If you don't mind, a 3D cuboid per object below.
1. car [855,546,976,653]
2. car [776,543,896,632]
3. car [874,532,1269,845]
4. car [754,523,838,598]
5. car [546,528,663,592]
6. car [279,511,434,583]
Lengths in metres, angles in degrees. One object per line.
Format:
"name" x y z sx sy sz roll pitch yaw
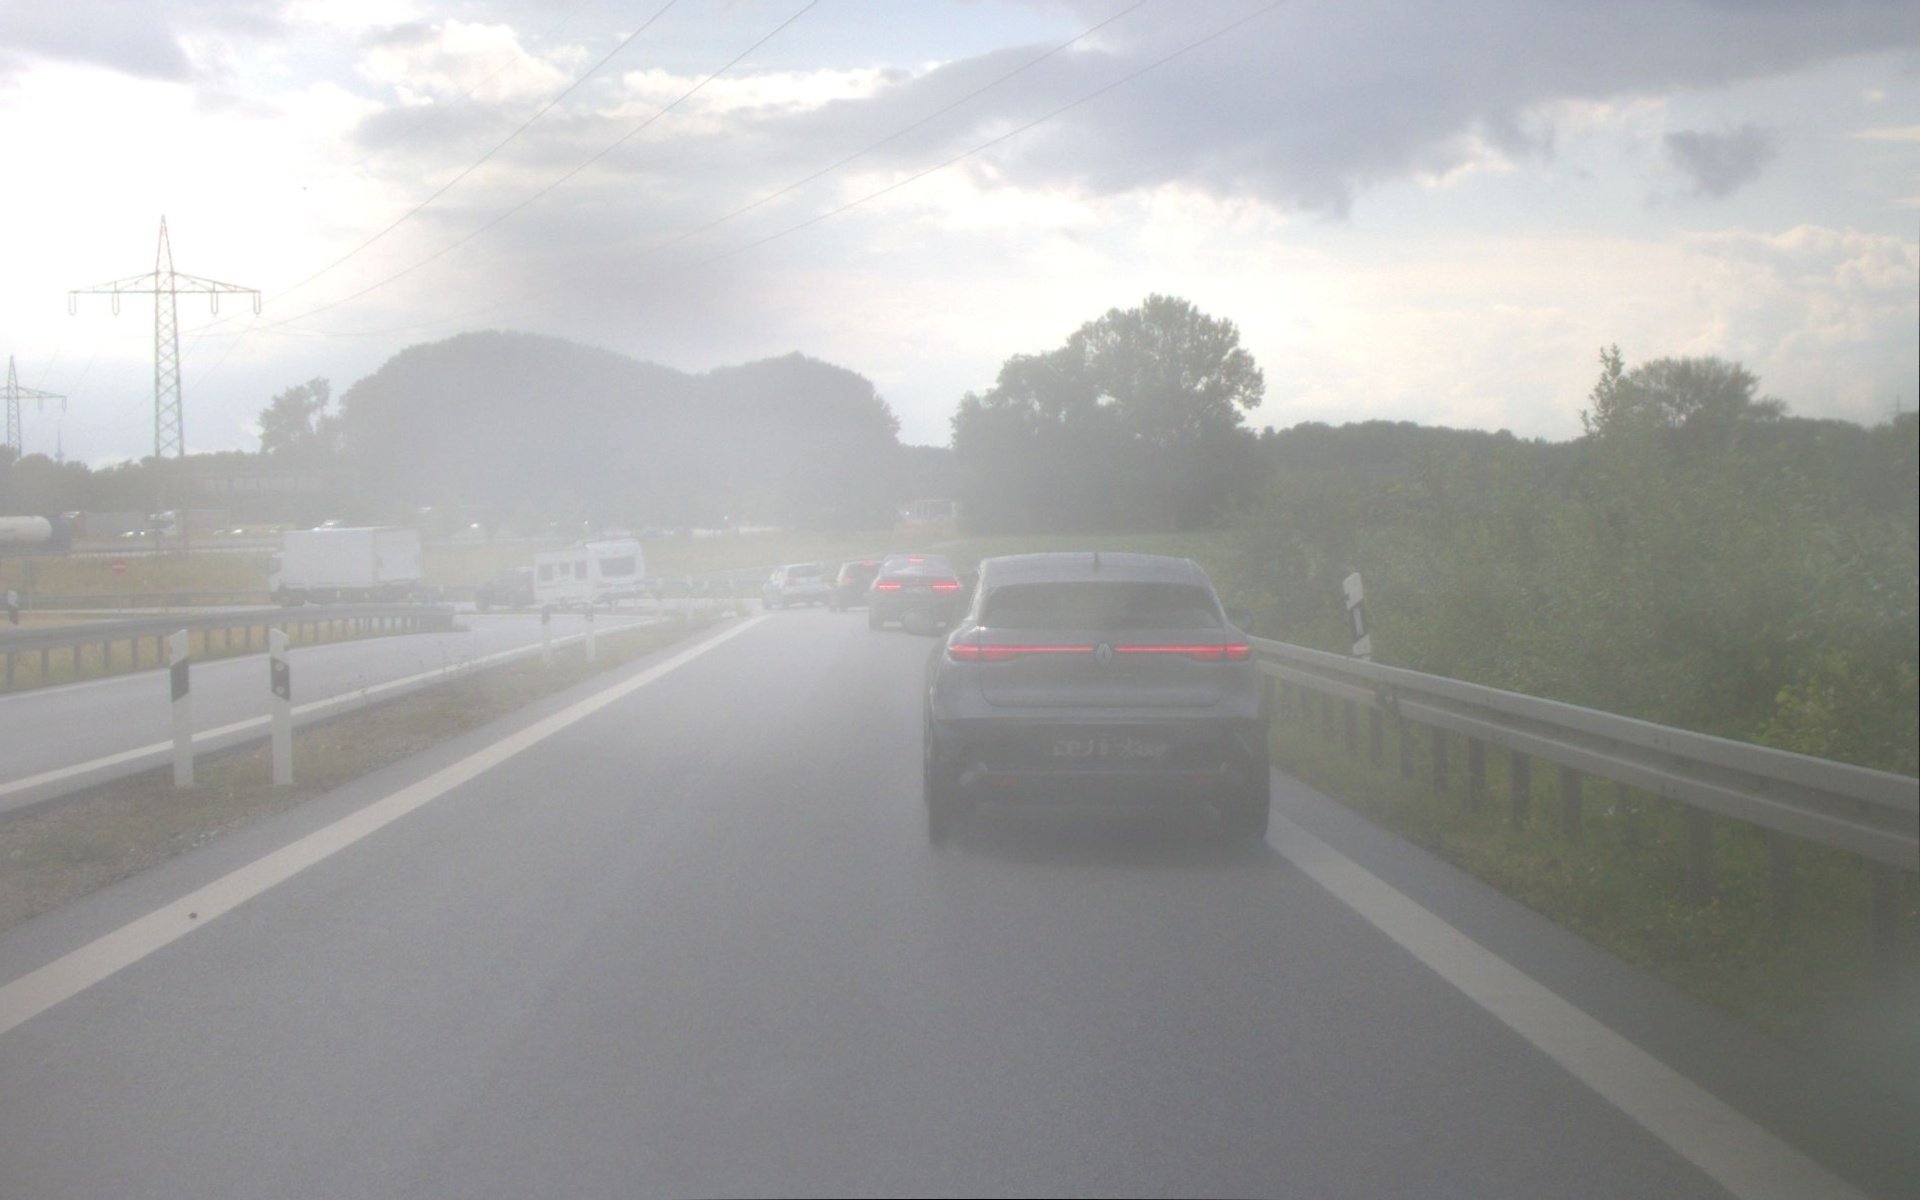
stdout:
"car" -0.949 -0.052 69.892 2.121 2.011 5.535 -1 1 -4
"car" -3.689 -0.408 101.209 2.350 2.299 5.131 -2 3 -16
"car" 0.609 0.410 19.530 1.993 1.561 4.149 0 1 1
"car" -5.677 -1.387 118.617 2.350 2.299 5.130 -1 3 -8
"car" -14.043 -1.613 135.642 2.352 2.299 5.128 -3 4 -35
"car" -26.914 -2.388 153.170 7.204 2.941 3.138 2 5 44
